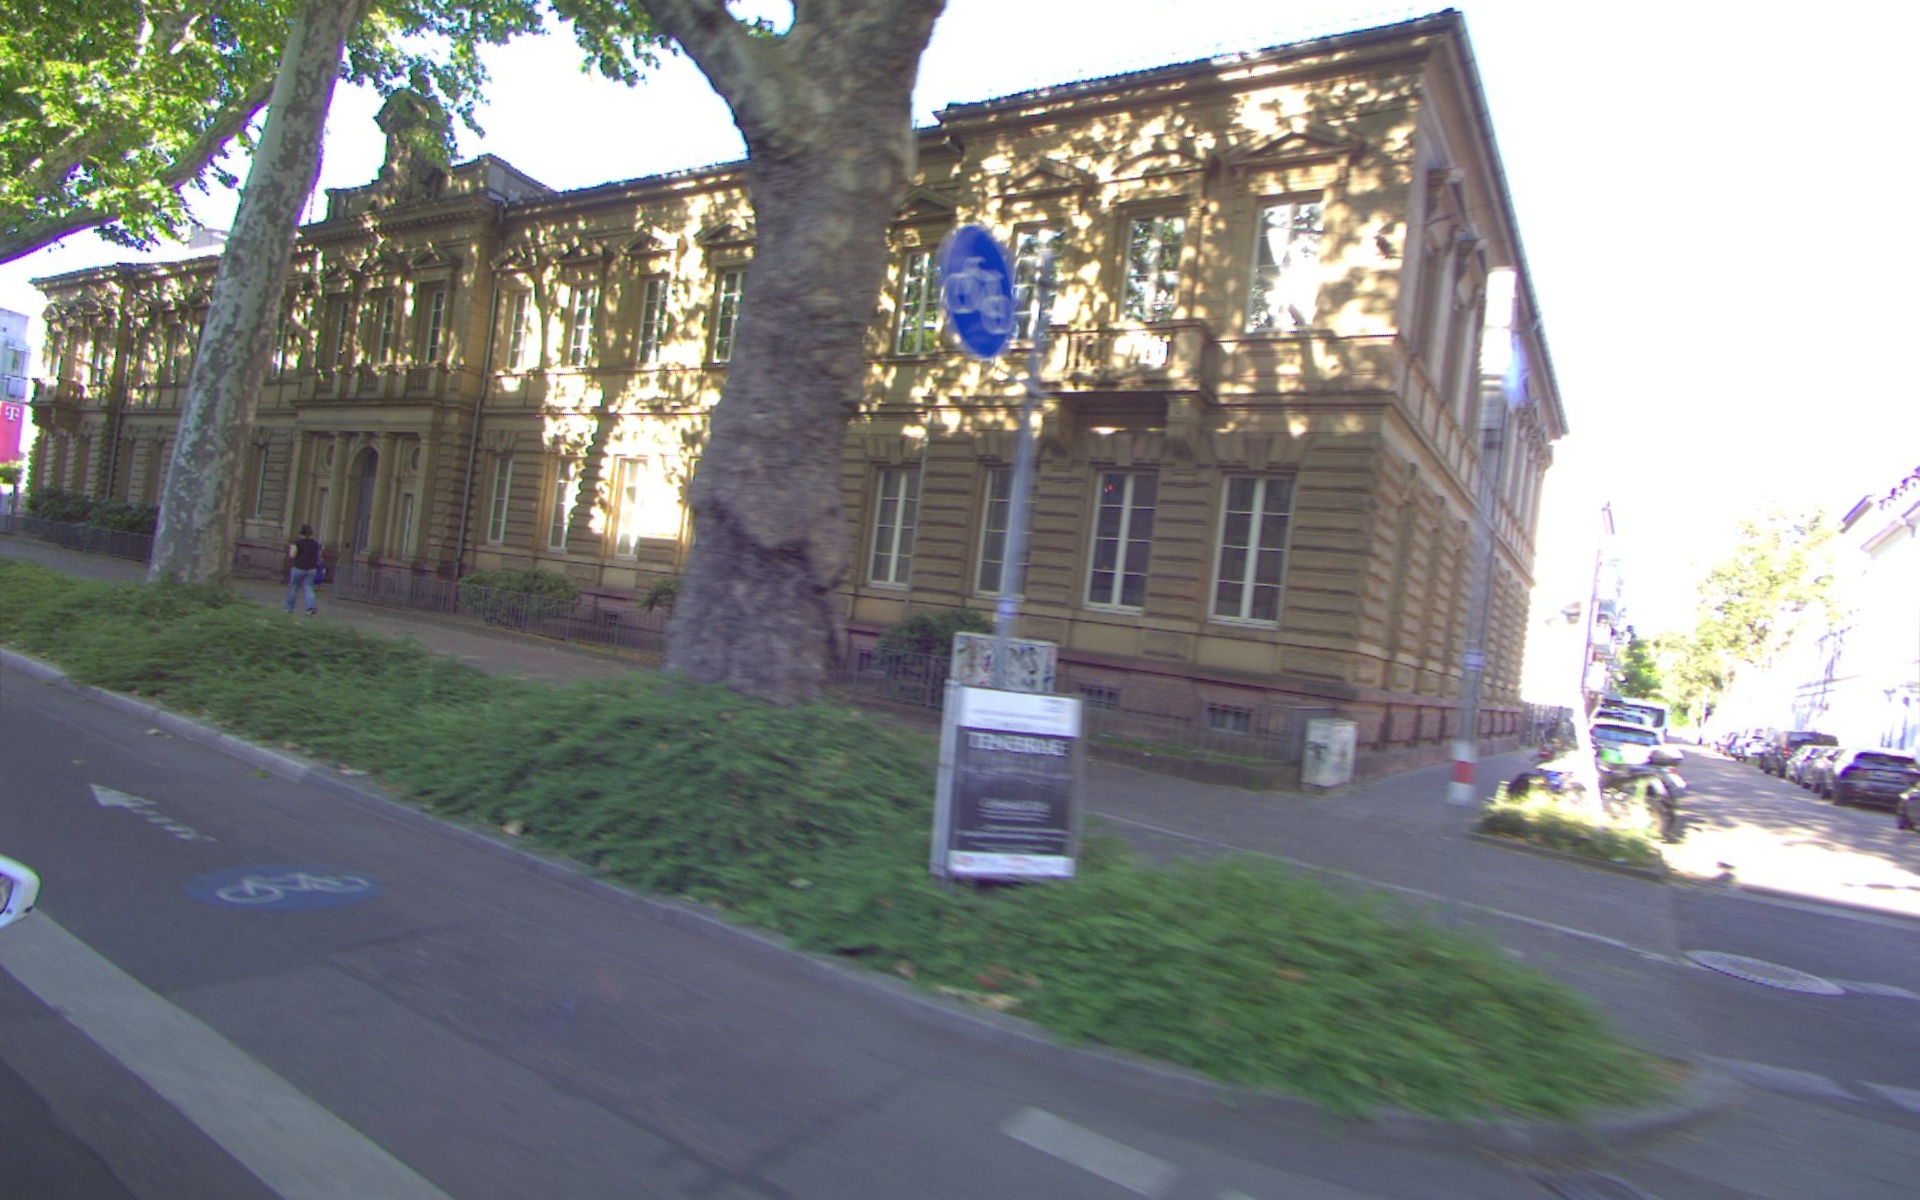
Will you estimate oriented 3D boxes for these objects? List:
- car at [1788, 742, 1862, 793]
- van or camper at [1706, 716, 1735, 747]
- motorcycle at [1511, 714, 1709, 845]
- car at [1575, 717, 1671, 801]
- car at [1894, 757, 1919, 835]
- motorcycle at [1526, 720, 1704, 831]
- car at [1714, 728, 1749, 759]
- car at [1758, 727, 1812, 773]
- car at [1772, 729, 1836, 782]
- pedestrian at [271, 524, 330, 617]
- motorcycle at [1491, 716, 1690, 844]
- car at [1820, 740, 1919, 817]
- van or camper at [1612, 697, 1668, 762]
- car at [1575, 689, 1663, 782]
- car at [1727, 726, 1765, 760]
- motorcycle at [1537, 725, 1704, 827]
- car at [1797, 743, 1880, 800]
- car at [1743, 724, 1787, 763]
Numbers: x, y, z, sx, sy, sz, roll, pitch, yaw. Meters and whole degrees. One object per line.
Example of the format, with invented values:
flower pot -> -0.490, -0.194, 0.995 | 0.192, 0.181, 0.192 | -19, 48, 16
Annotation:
car -> 30.264, 5.808, 35.273 | 1.606, 1.447, 3.698 | 4, -3, 37
van or camper -> 62.423, 10.773, 82.581 | 1.606, 2.301, 4.778 | 4, -3, 36
motorcycle -> 9.571, 2.610, 14.909 | 0.566, 1.448, 2.258 | 9, -1, -44
car -> 15.156, 3.560, 22.924 | 1.606, 1.568, 3.474 | 4, -3, 36
car -> 19.182, 3.839, 18.952 | 1.631, 1.429, 4.079 | 4, -3, 34
motorcycle -> 10.149, 2.696, 15.668 | 0.492, 1.311, 2.159 | 9, -2, -40
car -> 52.995, 9.815, 69.142 | 1.606, 1.844, 3.699 | 4, -3, 36
car -> 38.260, 6.938, 46.710 | 1.606, 1.844, 3.698 | 4, -3, 37
car -> 34.055, 6.246, 40.661 | 1.606, 1.844, 3.698 | 4, -3, 37
pedestrian -> -12.463, -0.559, 18.999 | 0.645, 1.651, 0.862 | 9, -2, -40
motorcycle -> 8.696, 2.454, 13.972 | 0.492, 1.311, 2.158 | 9, -1, -40
car -> 24.498, 4.741, 27.124 | 1.606, 1.668, 3.698 | 4, -3, 37
van or camper -> 30.613, 5.813, 45.296 | 1.851, 2.547, 4.422 | 4, -3, 35
car -> 19.869, 4.027, 30.260 | 1.927, 2.375, 4.364 | 4, -3, 35
car -> 48.330, 8.781, 61.910 | 1.606, 1.844, 3.698 | 4, -3, 37
motorcycle -> 10.838, 2.859, 16.583 | 0.492, 1.311, 2.159 | 9, -4, -40
car -> 27.893, 5.397, 32.029 | 1.606, 1.447, 3.698 | 4, -3, 37
car -> 43.873, 7.787, 54.904 | 1.606, 1.844, 3.698 | 4, -3, 37
